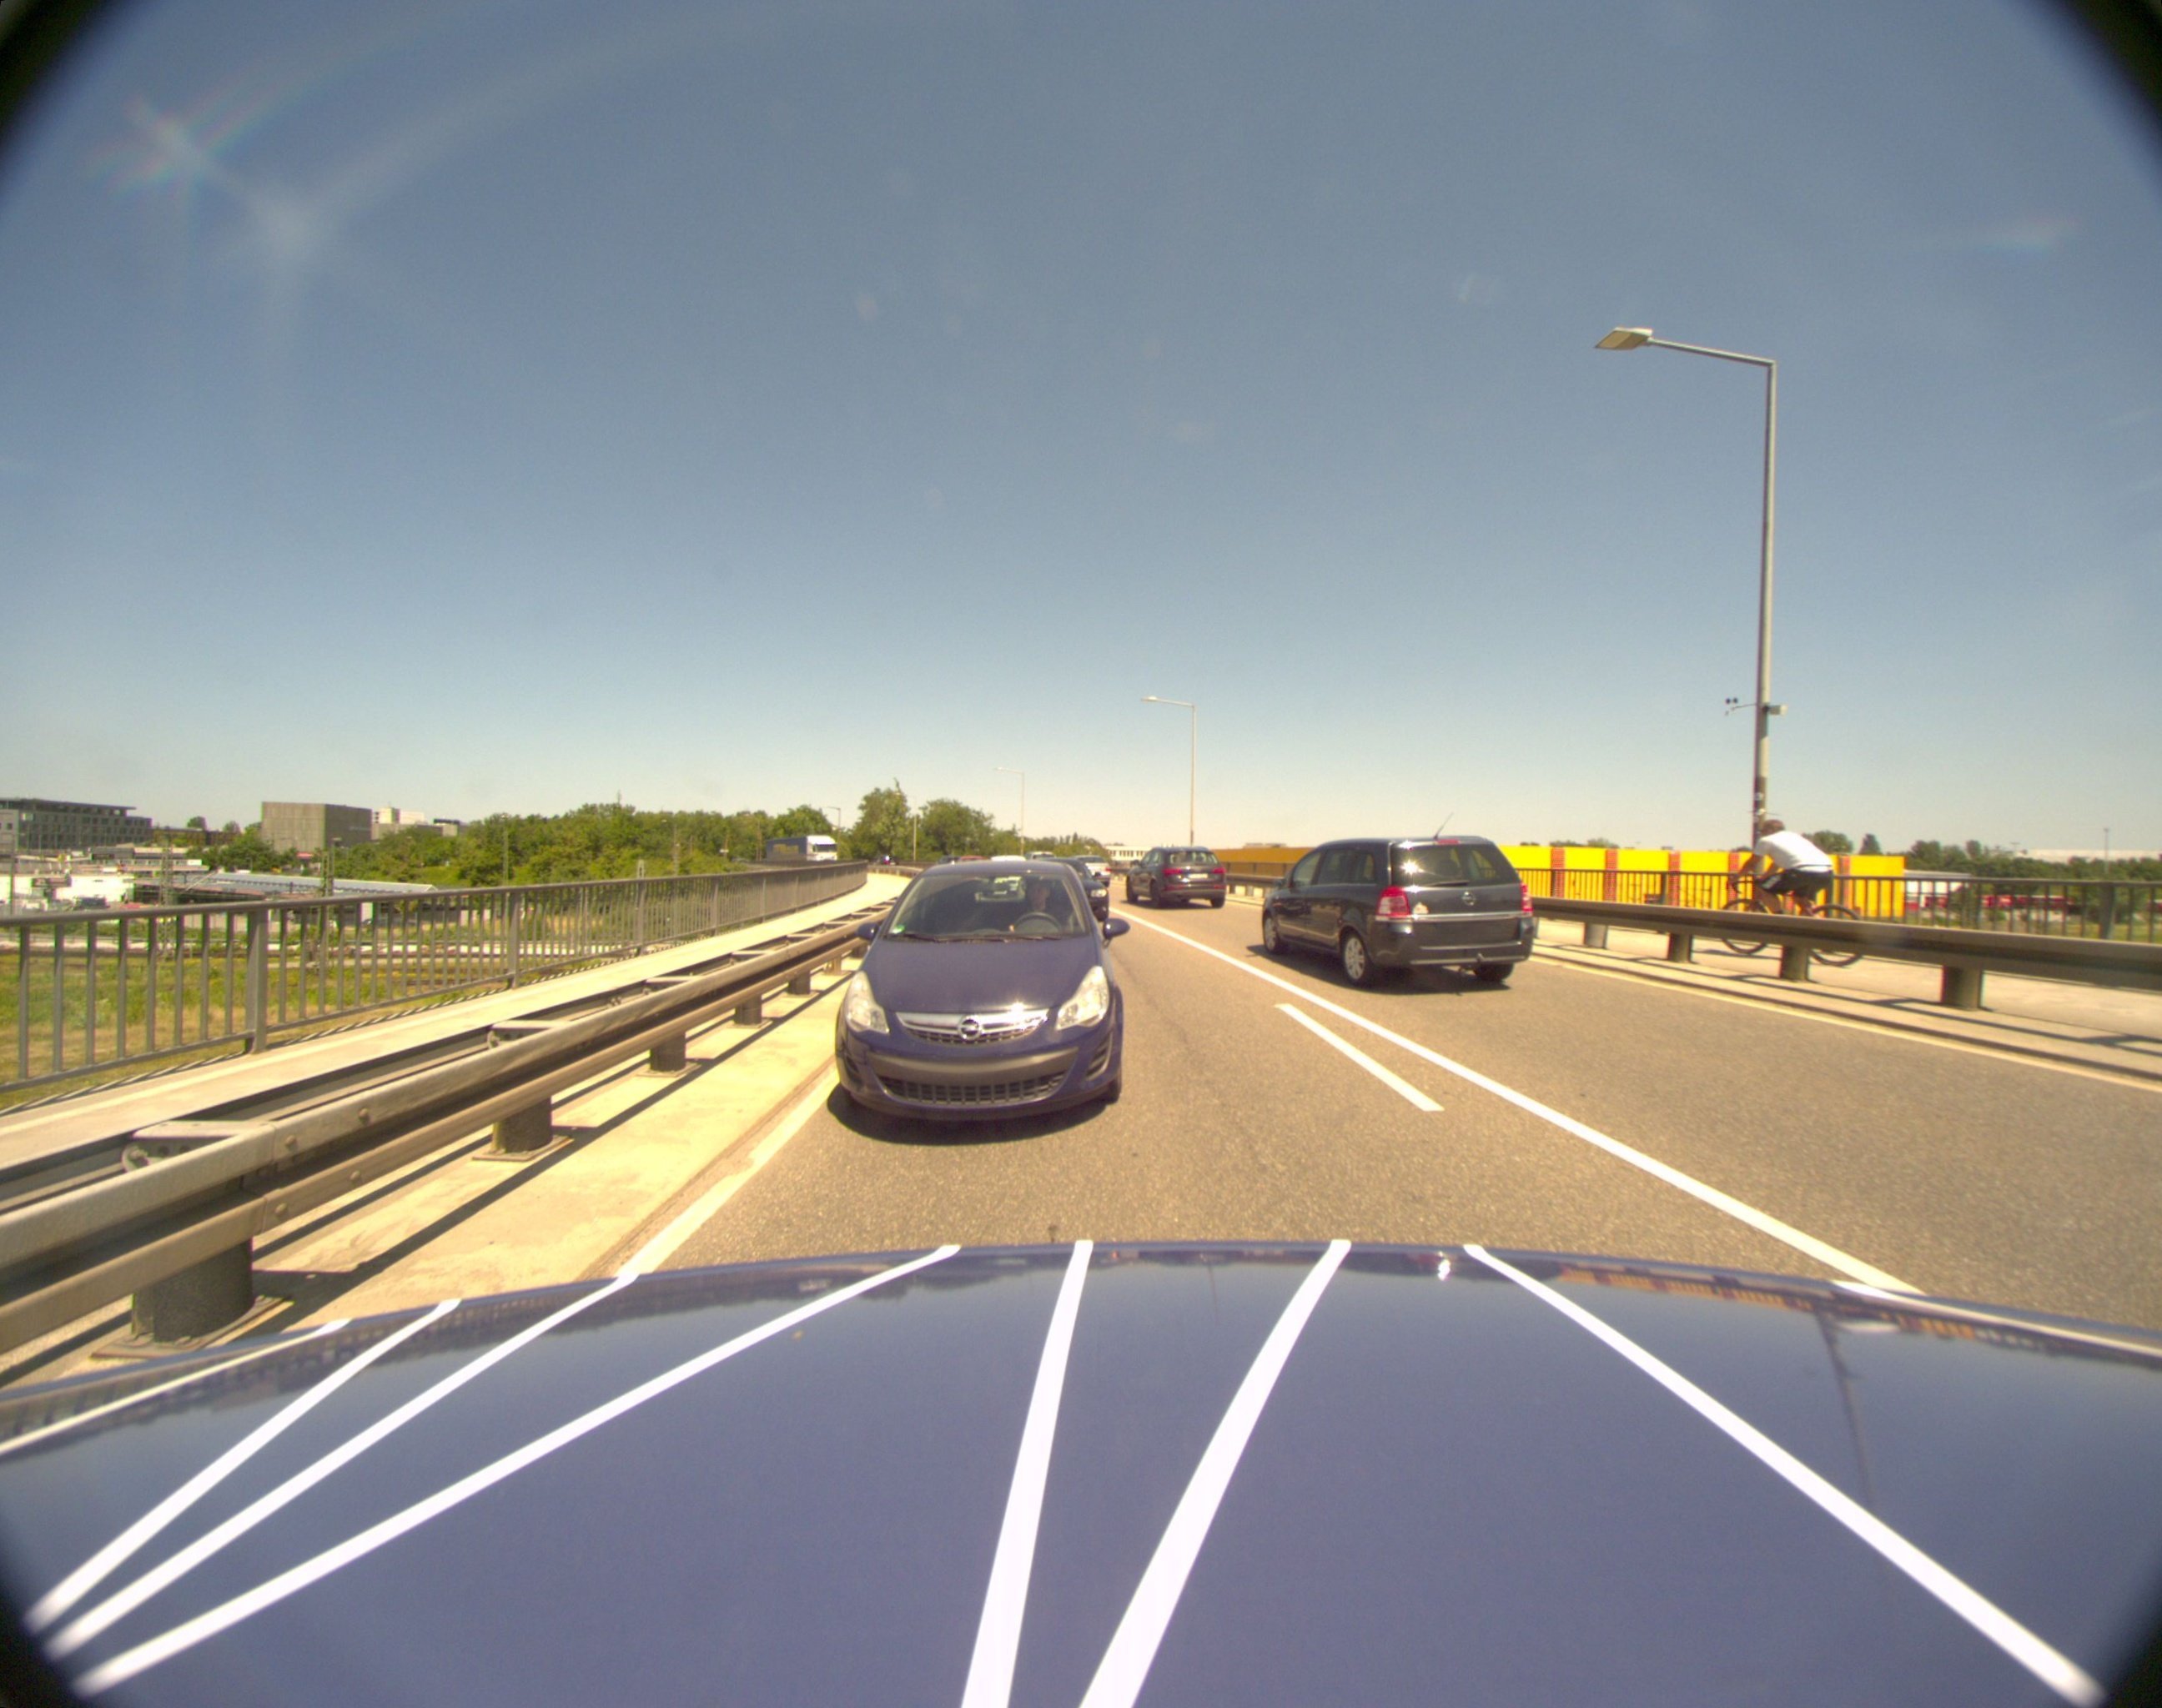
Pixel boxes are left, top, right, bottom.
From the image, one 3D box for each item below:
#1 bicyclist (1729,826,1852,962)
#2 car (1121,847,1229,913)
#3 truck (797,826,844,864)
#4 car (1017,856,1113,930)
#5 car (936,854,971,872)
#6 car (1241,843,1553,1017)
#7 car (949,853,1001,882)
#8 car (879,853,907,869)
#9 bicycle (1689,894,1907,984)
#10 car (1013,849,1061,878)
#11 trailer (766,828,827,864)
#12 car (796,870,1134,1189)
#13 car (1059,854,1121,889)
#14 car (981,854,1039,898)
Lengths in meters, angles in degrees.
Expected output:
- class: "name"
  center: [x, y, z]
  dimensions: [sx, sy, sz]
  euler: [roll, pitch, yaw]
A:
- class: "bicyclist"
  center: [8.378, 0.445, 9.004]
  dimensions: [0.585, 1.512, 0.895]
  euler: [-1, 1, -6]
- class: "car"
  center: [2.500, 0.644, 21.307]
  dimensions: [1.807, 1.631, 4.296]
  euler: [-1, 0, -10]
- class: "truck"
  center: [-30.494, -0.984, 88.908]
  dimensions: [2.701, 4.205, 6.820]
  euler: [-4, 2, -40]
- class: "car"
  center: [-0.515, 0.818, 18.141]
  dimensions: [1.795, 1.447, 4.519]
  euler: [-2, 1, -7]
- class: "car"
  center: [-10.497, 0.700, 62.283]
  dimensions: [1.780, 1.430, 4.383]
  euler: [-1, 1, -24]
- class: "car"
  center: [3.529, 0.721, 9.472]
  dimensions: [1.712, 1.617, 4.250]
  euler: [-2, 0, -6]
- class: "car"
  center: [-5.919, 0.696, 42.037]
  dimensions: [1.797, 1.447, 4.514]
  euler: [-1, 1, -22]
- class: "car"
  center: [-20.115, 0.696, 81.112]
  dimensions: [1.781, 1.616, 4.243]
  euler: [-1, 1, -30]
- class: "bicycle"
  center: [8.386, 0.950, 9.031]
  dimensions: [0.590, 0.828, 1.990]
  euler: [-1, 0, -6]
- class: "car"
  center: [-2.598, 0.495, 43.729]
  dimensions: [1.743, 1.571, 4.170]
  euler: [-1, 1, -18]
- class: "trailer"
  center: [-35.739, -0.915, 94.999]
  dimensions: [2.707, 4.211, 12.677]
  euler: [-3, 2, -41]
- class: "car"
  center: [-0.691, 0.916, 5.819]
  dimensions: [1.645, 1.431, 3.998]
  euler: [-2, 1, -3]
- class: "car"
  center: [0.309, 0.710, 33.013]
  dimensions: [1.703, 1.368, 3.994]
  euler: [-1, 1, -15]
- class: "car"
  center: [-2.755, 0.764, 28.512]
  dimensions: [1.796, 1.447, 4.519]
  euler: [-2, 1, -10]
